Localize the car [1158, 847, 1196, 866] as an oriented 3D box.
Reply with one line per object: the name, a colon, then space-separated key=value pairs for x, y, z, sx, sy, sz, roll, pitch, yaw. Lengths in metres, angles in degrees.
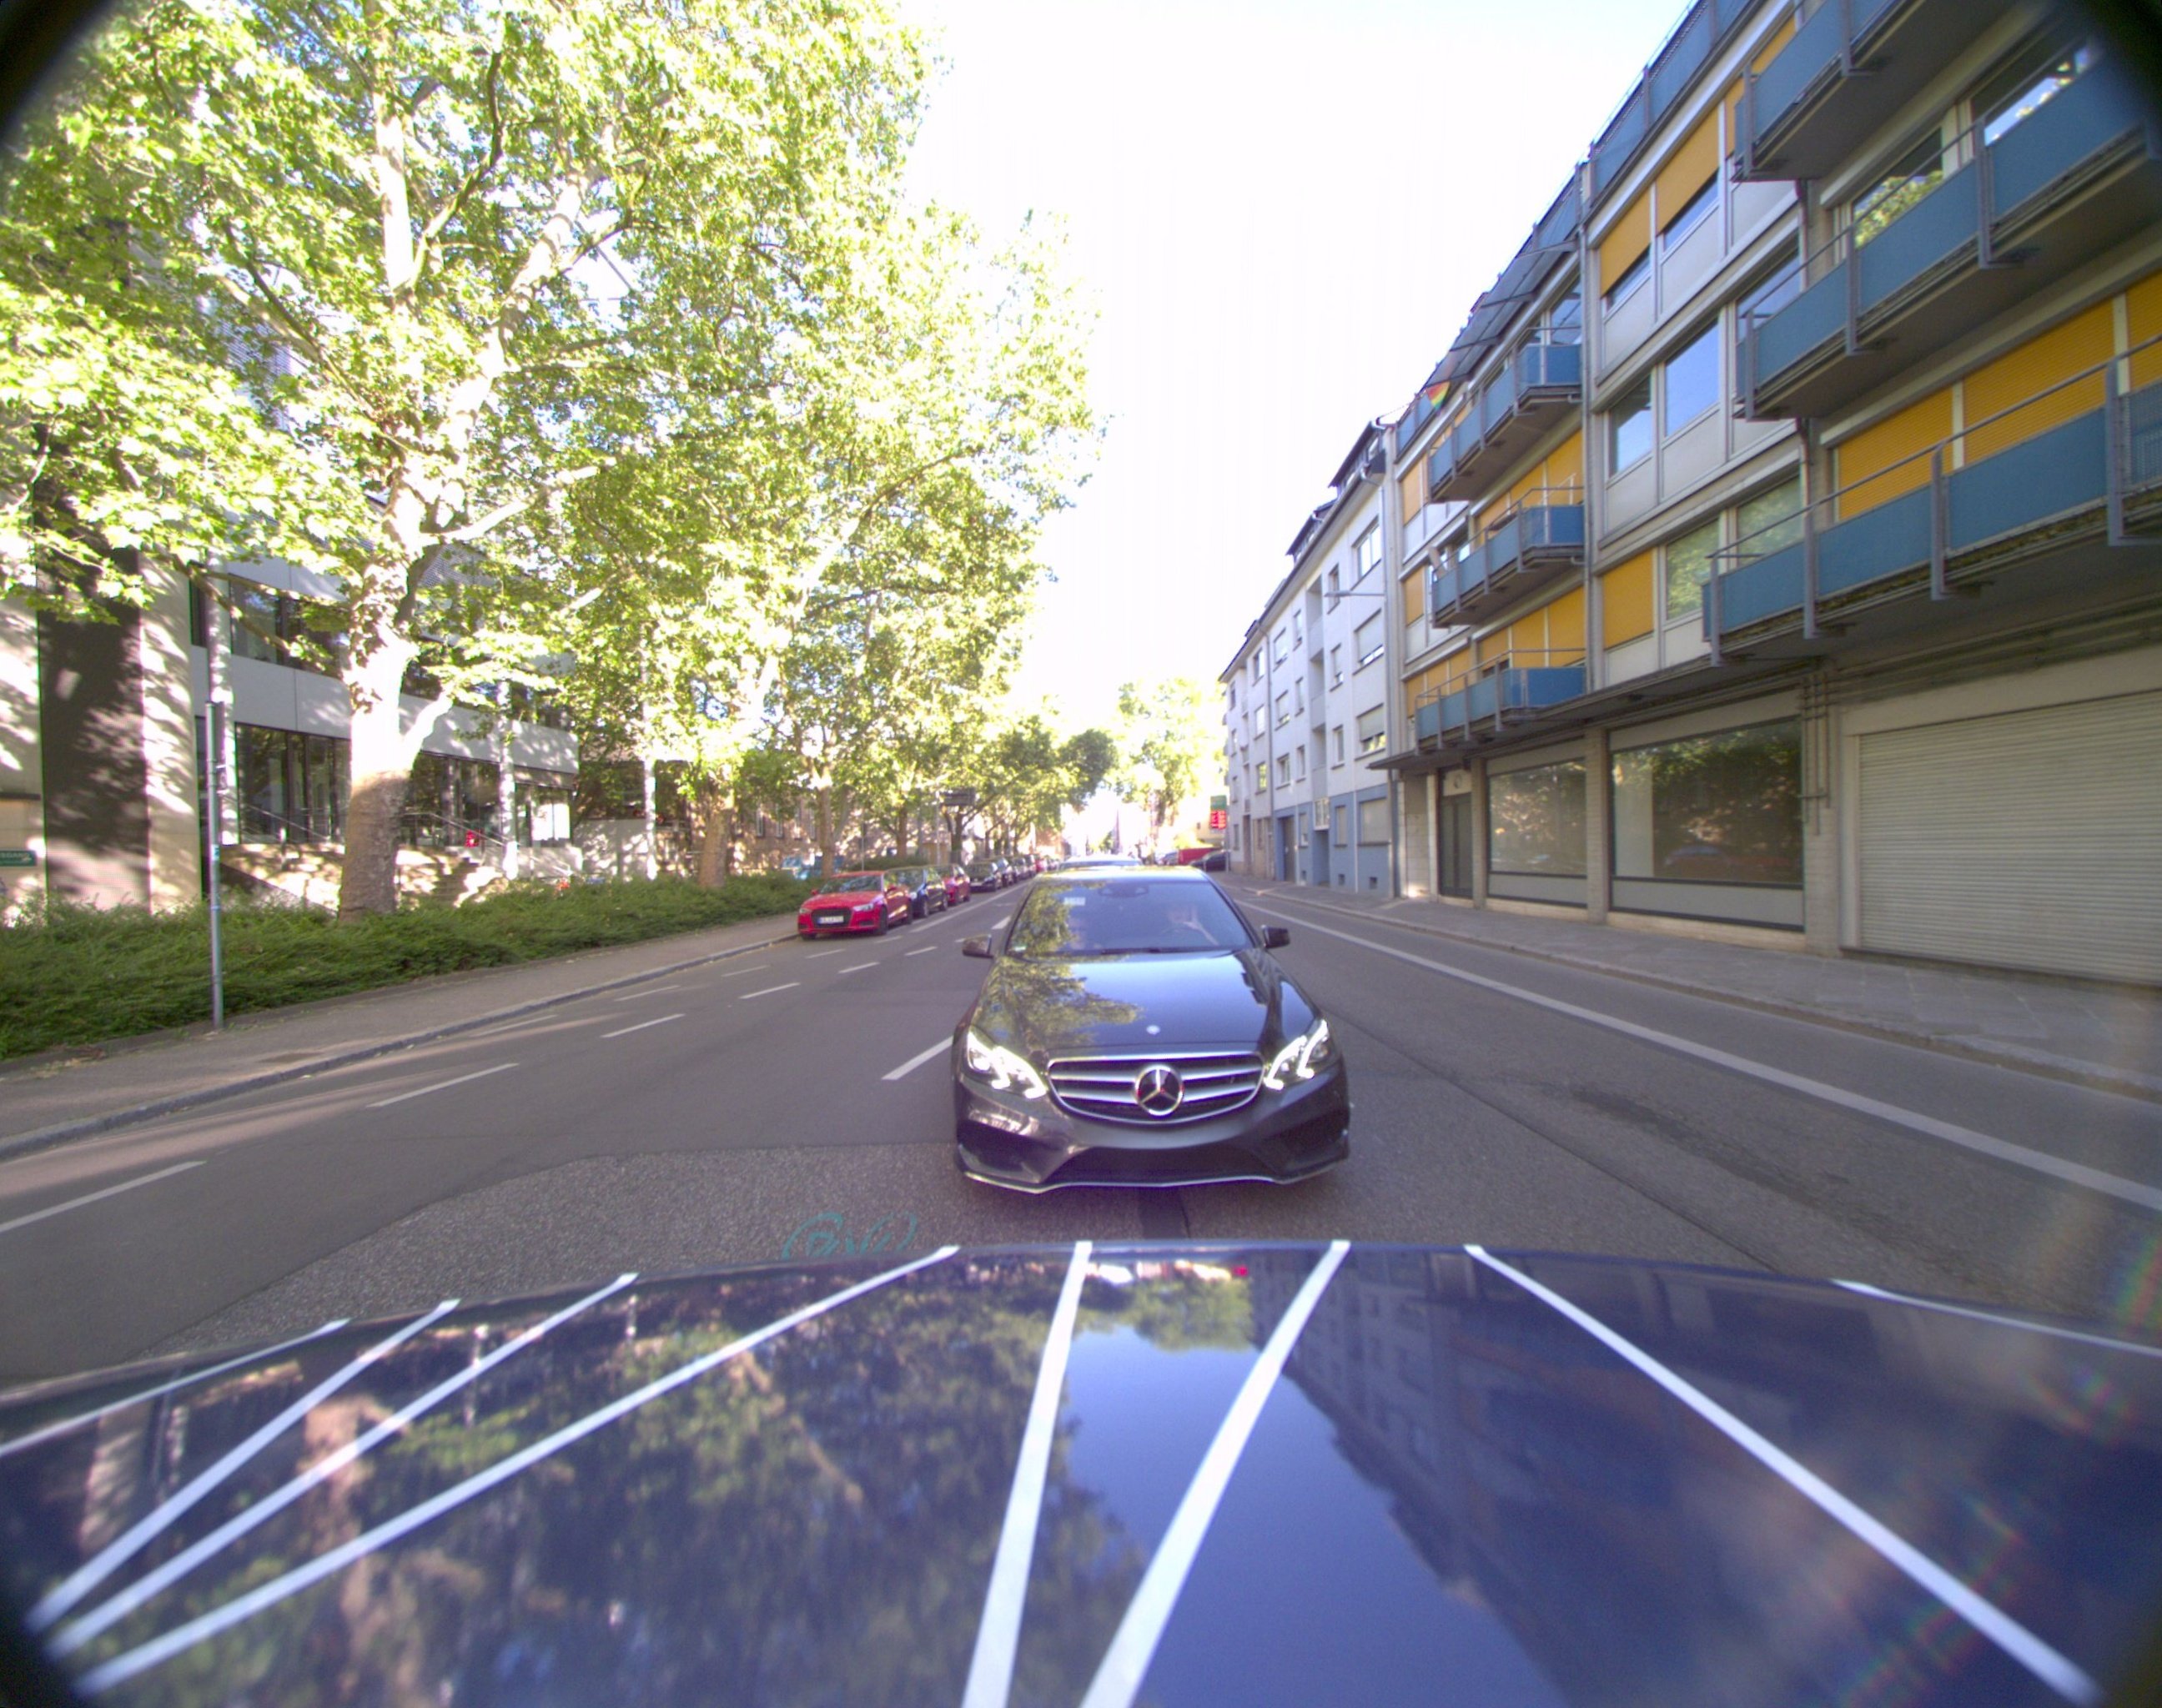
car: x=10.746 y=0.240 z=84.971 sx=3.996 sy=1.936 sz=2.000 roll=-2 pitch=1 yaw=2

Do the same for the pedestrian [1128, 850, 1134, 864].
pedestrian: x=7.212 y=0.414 z=110.181 sx=0.735 sy=2.002 sz=0.797 roll=-2 pitch=1 yaw=1

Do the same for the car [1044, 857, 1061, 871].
car: x=-3.643 y=1.231 z=96.776 sx=1.866 sy=1.632 sz=4.481 roll=-2 pitch=0 yaw=1

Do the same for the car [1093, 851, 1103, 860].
car: x=3.370 y=0.346 z=151.836 sx=1.866 sy=1.632 sz=4.481 roll=-2 pitch=0 yaw=1

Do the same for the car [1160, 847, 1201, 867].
car: x=10.471 y=0.306 z=79.988 sx=3.996 sy=1.936 sz=2.000 roll=-2 pitch=1 yaw=2

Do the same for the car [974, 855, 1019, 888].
car: x=-4.615 y=0.904 z=42.200 sx=1.866 sy=1.658 sz=4.481 roll=-2 pitch=0 yaw=1

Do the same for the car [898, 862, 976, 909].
car: x=-5.084 y=1.063 z=27.418 sx=1.866 sy=1.442 sz=4.481 roll=-2 pitch=0 yaw=1

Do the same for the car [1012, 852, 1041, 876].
car: x=-4.238 y=0.752 z=59.749 sx=1.866 sy=1.749 sz=4.481 roll=-2 pitch=0 yaw=1

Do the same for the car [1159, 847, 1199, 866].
car: x=10.600 y=0.273 z=82.477 sx=3.996 sy=1.936 sz=2.000 roll=-2 pitch=1 yaw=2

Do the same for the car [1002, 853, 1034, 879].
car: x=-4.496 y=0.815 z=54.793 sx=1.866 sy=1.749 sz=4.481 roll=-2 pitch=0 yaw=1

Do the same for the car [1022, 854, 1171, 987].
car: x=0.226 y=0.857 z=11.923 sx=1.866 sy=1.630 sz=4.303 roll=-2 pitch=0 yaw=1

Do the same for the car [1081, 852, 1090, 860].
car: x=0.917 y=0.428 z=159.003 sx=1.866 sy=1.632 sz=4.481 roll=-2 pitch=0 yaw=1

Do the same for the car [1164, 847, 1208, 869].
car: x=10.257 y=0.376 z=74.496 sx=3.996 sy=1.936 sz=2.000 roll=-2 pitch=1 yaw=2

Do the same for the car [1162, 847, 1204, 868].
car: x=10.341 y=0.343 z=77.138 sx=3.996 sy=1.936 sz=2.000 roll=-2 pitch=1 yaw=2

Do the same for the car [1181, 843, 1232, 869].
car: x=10.556 y=0.154 z=64.015 sx=3.996 sy=1.936 sz=2.000 roll=-2 pitch=1 yaw=2

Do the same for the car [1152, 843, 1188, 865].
car: x=10.500 y=0.002 z=89.498 sx=3.996 sy=2.505 sz=2.000 roll=-2 pitch=1 yaw=2

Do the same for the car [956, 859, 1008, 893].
car: x=-4.751 y=1.022 z=37.165 sx=1.866 sy=1.442 sz=4.481 roll=-2 pitch=0 yaw=1

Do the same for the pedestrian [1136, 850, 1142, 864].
pedestrian: x=8.402 y=0.404 z=110.899 sx=0.735 sy=2.002 sz=1.046 roll=-2 pitch=1 yaw=0

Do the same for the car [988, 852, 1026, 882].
car: x=-4.627 y=0.780 z=48.126 sx=1.866 sy=1.749 sz=4.481 roll=-2 pitch=0 yaw=1

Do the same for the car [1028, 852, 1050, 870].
car: x=-4.189 y=0.700 z=76.271 sx=1.866 sy=1.632 sz=4.481 roll=-2 pitch=0 yaw=1

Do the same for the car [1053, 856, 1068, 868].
car: x=-2.810 y=1.106 z=105.183 sx=1.866 sy=1.632 sz=4.481 roll=-2 pitch=0 yaw=1

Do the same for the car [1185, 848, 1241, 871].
car: x=10.182 y=0.423 z=58.862 sx=3.996 sy=1.543 sz=2.000 roll=-2 pitch=1 yaw=2

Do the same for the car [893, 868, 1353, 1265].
car: x=0.206 y=0.933 z=5.400 sx=1.866 sy=1.492 sz=4.481 roll=-2 pitch=0 yaw=1

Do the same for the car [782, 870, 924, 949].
car: x=-5.101 y=1.176 z=17.724 sx=1.866 sy=1.442 sz=4.481 roll=-2 pitch=0 yaw=1

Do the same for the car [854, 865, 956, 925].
car: x=-5.041 y=1.122 z=22.374 sx=1.866 sy=1.442 sz=4.481 roll=-2 pitch=0 yaw=1

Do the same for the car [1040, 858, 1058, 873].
car: x=-3.754 y=1.316 z=89.978 sx=1.866 sy=1.632 sz=4.481 roll=-2 pitch=0 yaw=1

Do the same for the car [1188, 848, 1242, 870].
car: x=10.723 y=0.376 z=61.184 sx=3.996 sy=1.543 sz=2.000 roll=-2 pitch=1 yaw=2
